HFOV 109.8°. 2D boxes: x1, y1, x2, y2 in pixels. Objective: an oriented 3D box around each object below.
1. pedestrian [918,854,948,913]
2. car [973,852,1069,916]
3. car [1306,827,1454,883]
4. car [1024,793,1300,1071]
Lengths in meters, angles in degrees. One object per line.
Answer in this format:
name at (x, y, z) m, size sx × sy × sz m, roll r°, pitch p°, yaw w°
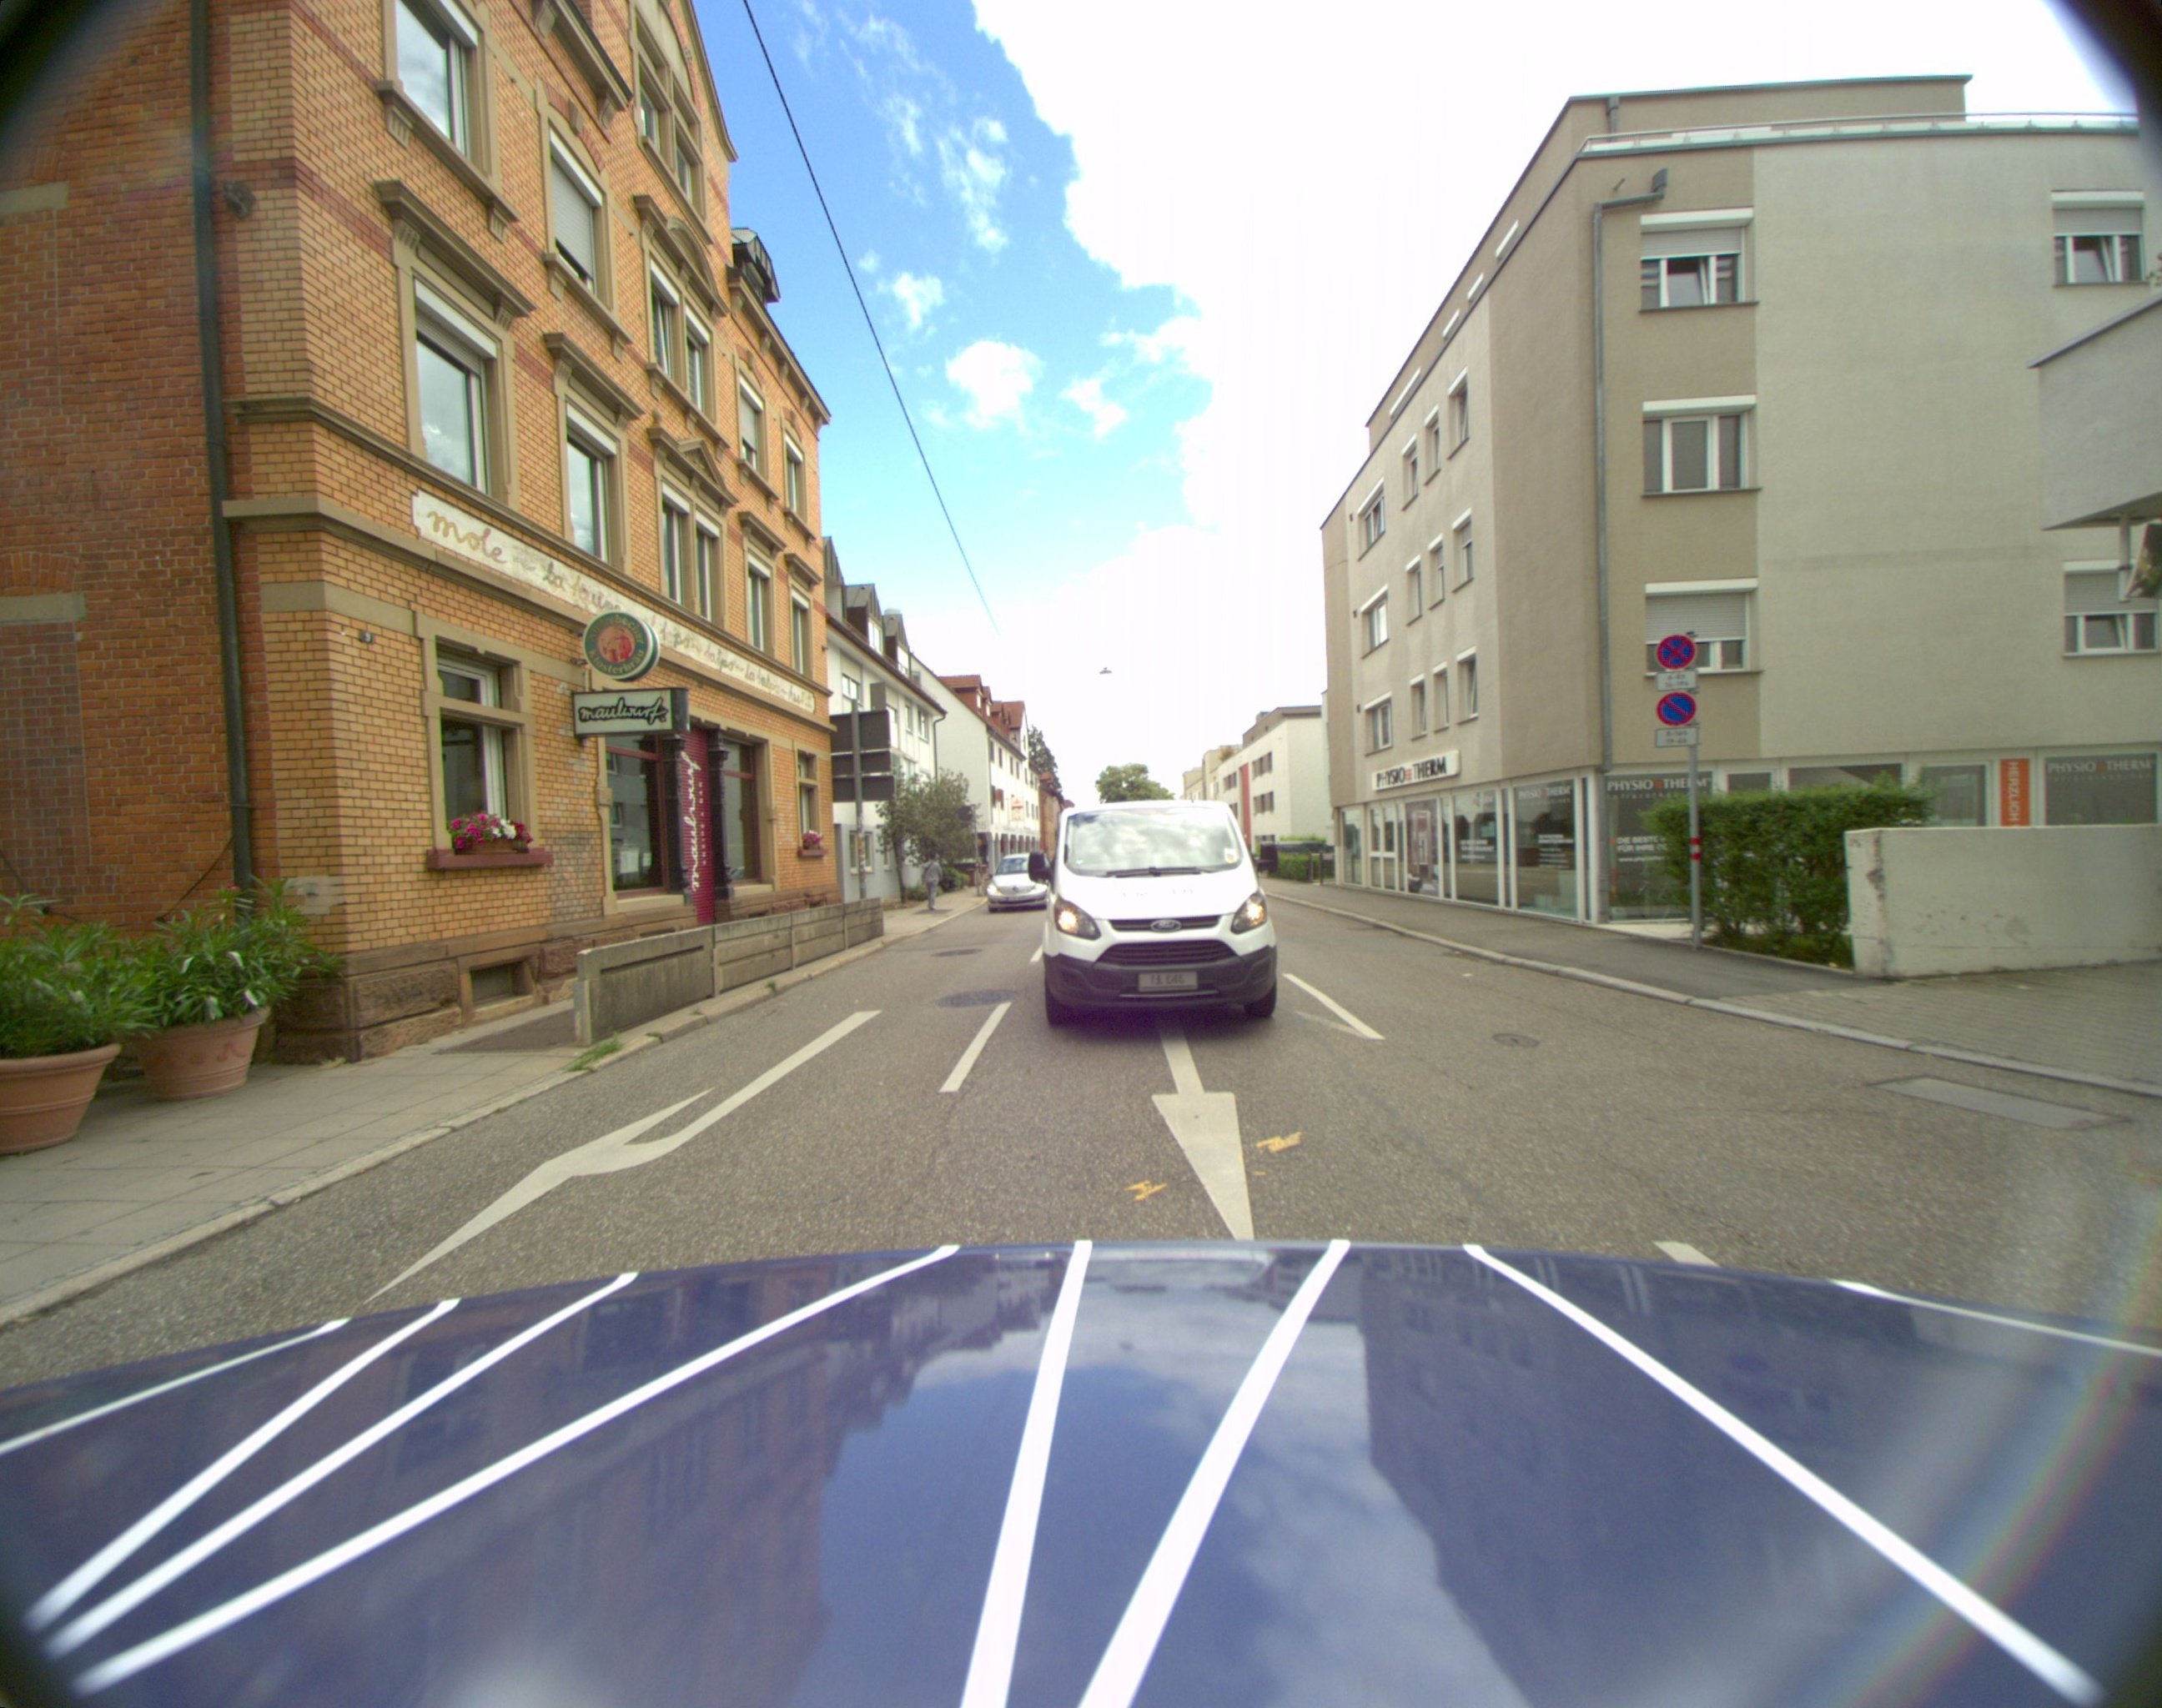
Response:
pedestrian at (-4.449, 0.868, 22.848) m, size 0.690 × 1.721 × 0.649 m, roll -2°, pitch 1°, yaw 0°
car at (-1.654, 0.806, 22.696) m, size 1.998 × 1.537 × 4.572 m, roll -4°, pitch 1°, yaw 5°
car at (11.802, 0.046, 30.249) m, size 5.082 × 1.986 × 1.966 m, roll -2°, pitch 1°, yaw 4°
car at (0.611, 0.551, 8.122) m, size 1.965 × 1.986 × 5.087 m, roll -2°, pitch 1°, yaw 0°
